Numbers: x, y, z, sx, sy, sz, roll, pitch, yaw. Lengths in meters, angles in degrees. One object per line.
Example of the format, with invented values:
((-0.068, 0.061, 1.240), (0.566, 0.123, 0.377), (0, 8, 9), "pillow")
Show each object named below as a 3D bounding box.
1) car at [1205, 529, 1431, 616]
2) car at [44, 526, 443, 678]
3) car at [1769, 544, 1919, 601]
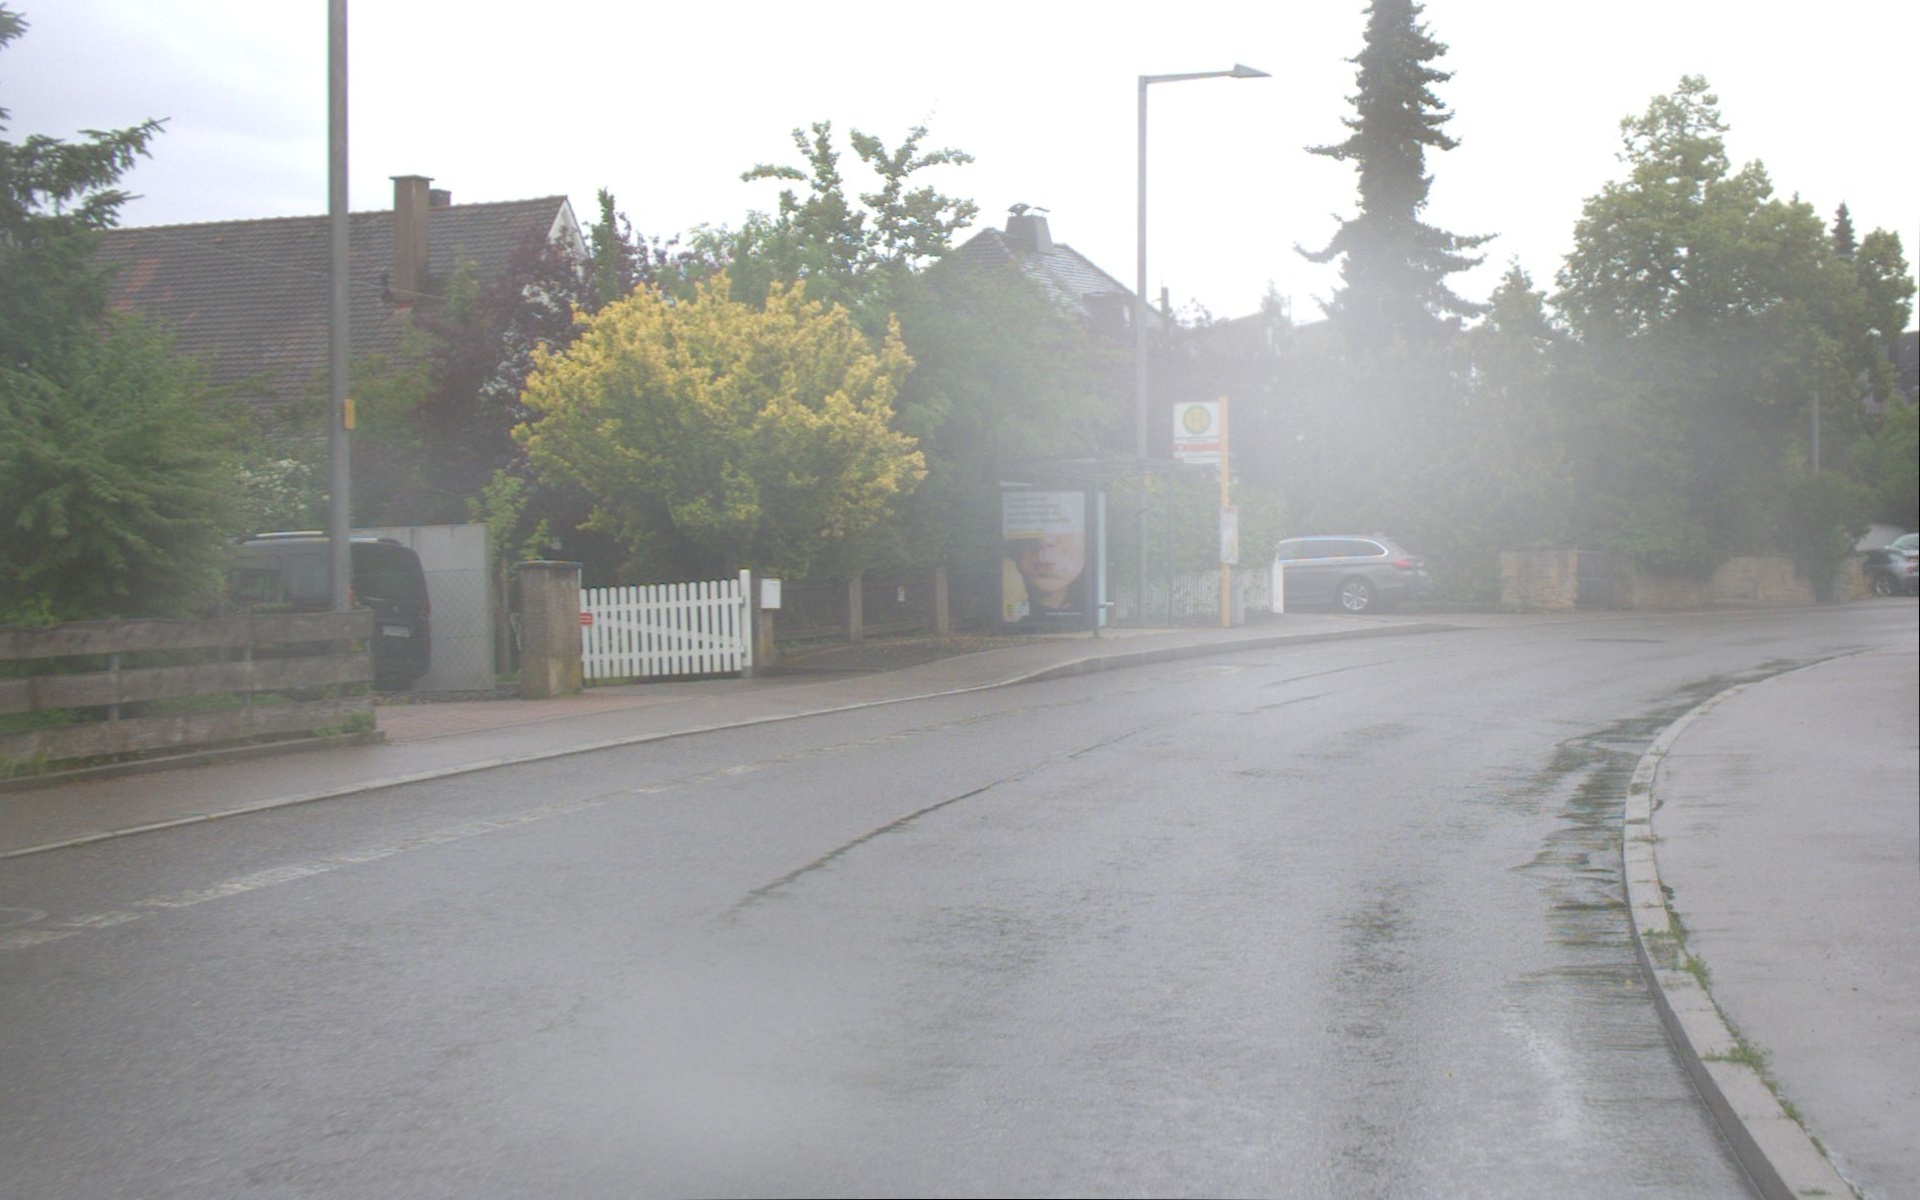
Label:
((6.593, -0.527, 63.262), (3.848, 1.567, 1.784), (0, 1, 19), "car")
((-8.097, -0.002, 38.877), (3.992, 1.614, 1.997), (1, 1, 24), "car")
((23.541, -0.730, 90.384), (3.996, 1.455, 1.898), (1, 1, 39), "car")
